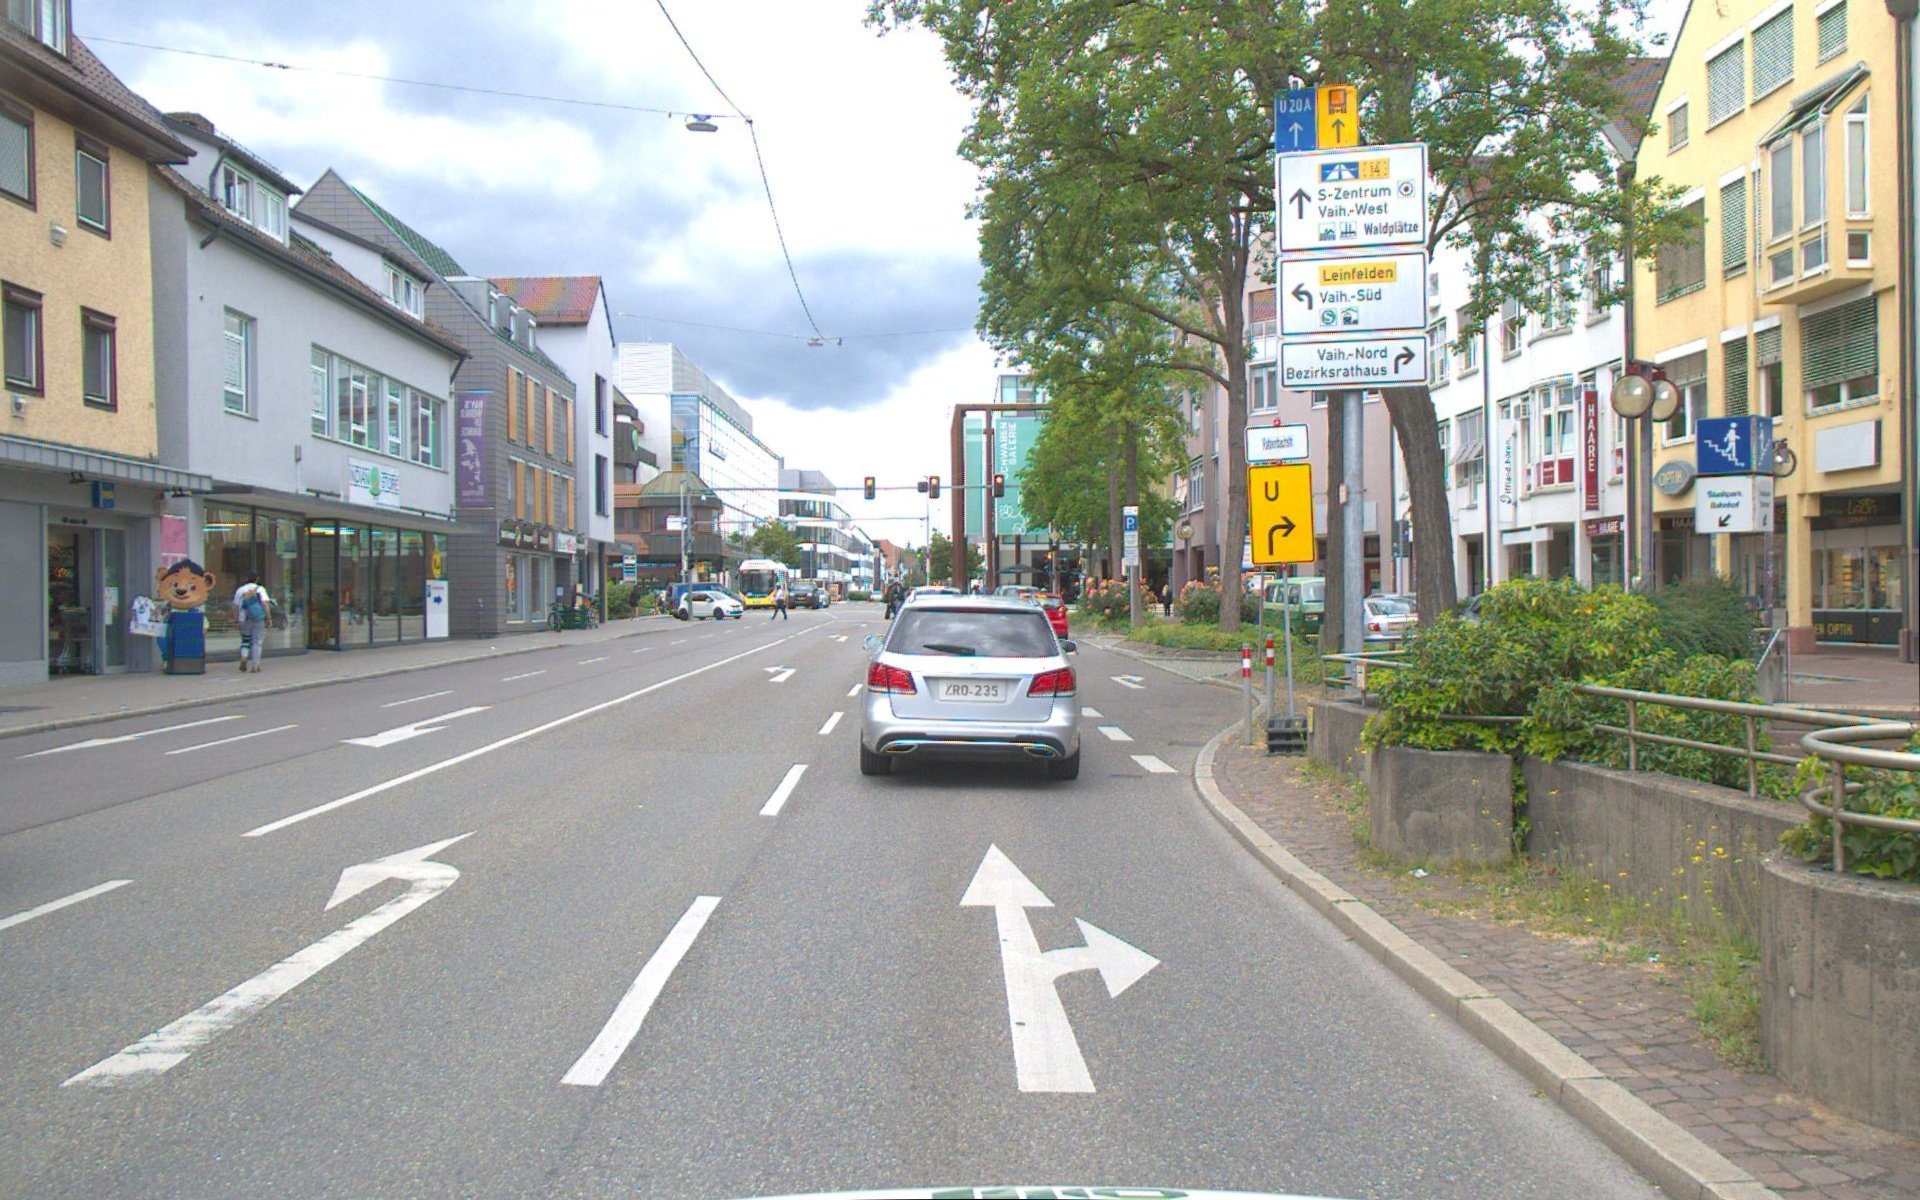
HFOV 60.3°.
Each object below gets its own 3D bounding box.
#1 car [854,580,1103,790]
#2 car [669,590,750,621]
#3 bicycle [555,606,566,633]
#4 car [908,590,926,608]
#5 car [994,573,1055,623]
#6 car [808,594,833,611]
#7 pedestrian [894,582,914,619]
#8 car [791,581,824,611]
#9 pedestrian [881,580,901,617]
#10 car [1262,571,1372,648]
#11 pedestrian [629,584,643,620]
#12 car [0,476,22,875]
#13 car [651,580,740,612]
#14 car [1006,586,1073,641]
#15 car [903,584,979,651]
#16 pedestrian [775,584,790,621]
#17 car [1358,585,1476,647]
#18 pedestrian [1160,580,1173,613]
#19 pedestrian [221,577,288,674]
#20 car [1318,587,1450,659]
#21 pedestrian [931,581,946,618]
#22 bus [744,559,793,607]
[{"bbox_3d":[0.042,0.635,14.479,1.837,1.532,3.998,2,0,-3],"label":"car"},{"bbox_3d":[-12.911,0.294,85.216,3.908,1.557,1.665,0,0,26],"label":"car"},{"bbox_3d":[-13.590,0.666,56.309,0.268,0.906,1.225,-1,0,-10],"label":"bicycle"},{"bbox_3d":[-4.823,-0.141,186.879,1.953,2.049,3.999,-1,0,-1],"label":"car"},{"bbox_3d":[2.300,-0.089,59.864,1.953,1.713,3.999,-1,0,-1],"label":"car"},{"bbox_3d":[-10.413,0.179,123.522,1.543,1.266,3.606,-1,0,-1],"label":"car"},{"bbox_3d":[-2.587,0.027,76.531,0.817,1.663,0.587,2,0,-5],"label":"pedestrian"},{"bbox_3d":[-10.504,-0.281,114.145,1.953,2.049,4.000,-1,0,-1],"label":"car"},{"bbox_3d":[-3.227,-0.078,77.049,0.840,1.663,0.588,2,0,1],"label":"pedestrian"},{"bbox_3d":[9.325,0.218,43.539,1.829,1.897,3.997,-1,0,-3],"label":"car"},{"bbox_3d":[-15.685,0.108,79.995,0.576,1.699,0.639,2,1,-14],"label":"pedestrian"},{"bbox_3d":[-5.675,0.416,5.821,1.922,1.995,5.137,-2,0,-2],"label":"car"},{"bbox_3d":[-15.584,-0.243,97.413,4.847,1.855,1.984,-1,0,-26],"label":"car"},{"bbox_3d":[2.322,0.370,49.170,1.719,1.547,3.999,-1,0,-1],"label":"car"},{"bbox_3d":[-0.521,0.436,45.226,1.953,1.713,3.999,-1,0,-1],"label":"car"},{"bbox_3d":[-7.988,0.108,74.504,0.602,1.663,0.586,2,0,-10],"label":"pedestrian"},{"bbox_3d":[12.008,0.393,43.706,1.829,1.554,3.997,-1,0,-3],"label":"car"},{"bbox_3d":[10.779,-0.186,86.301,0.600,1.663,0.588,2,0,12],"label":"pedestrian"},{"bbox_3d":[-12.369,0.434,29.025,0.801,1.663,0.979,1,0,-7],"label":"pedestrian"},{"bbox_3d":[9.716,0.487,38.190,1.829,1.554,3.997,-1,0,-3],"label":"car"},{"bbox_3d":[-0.977,-0.023,75.206,0.601,1.663,0.587,2,0,-5],"label":"pedestrian"},{"bbox_3d":[-13.299,-1.156,115.289,2.719,3.220,5.932,-1,0,-1],"label":"bus"}]
